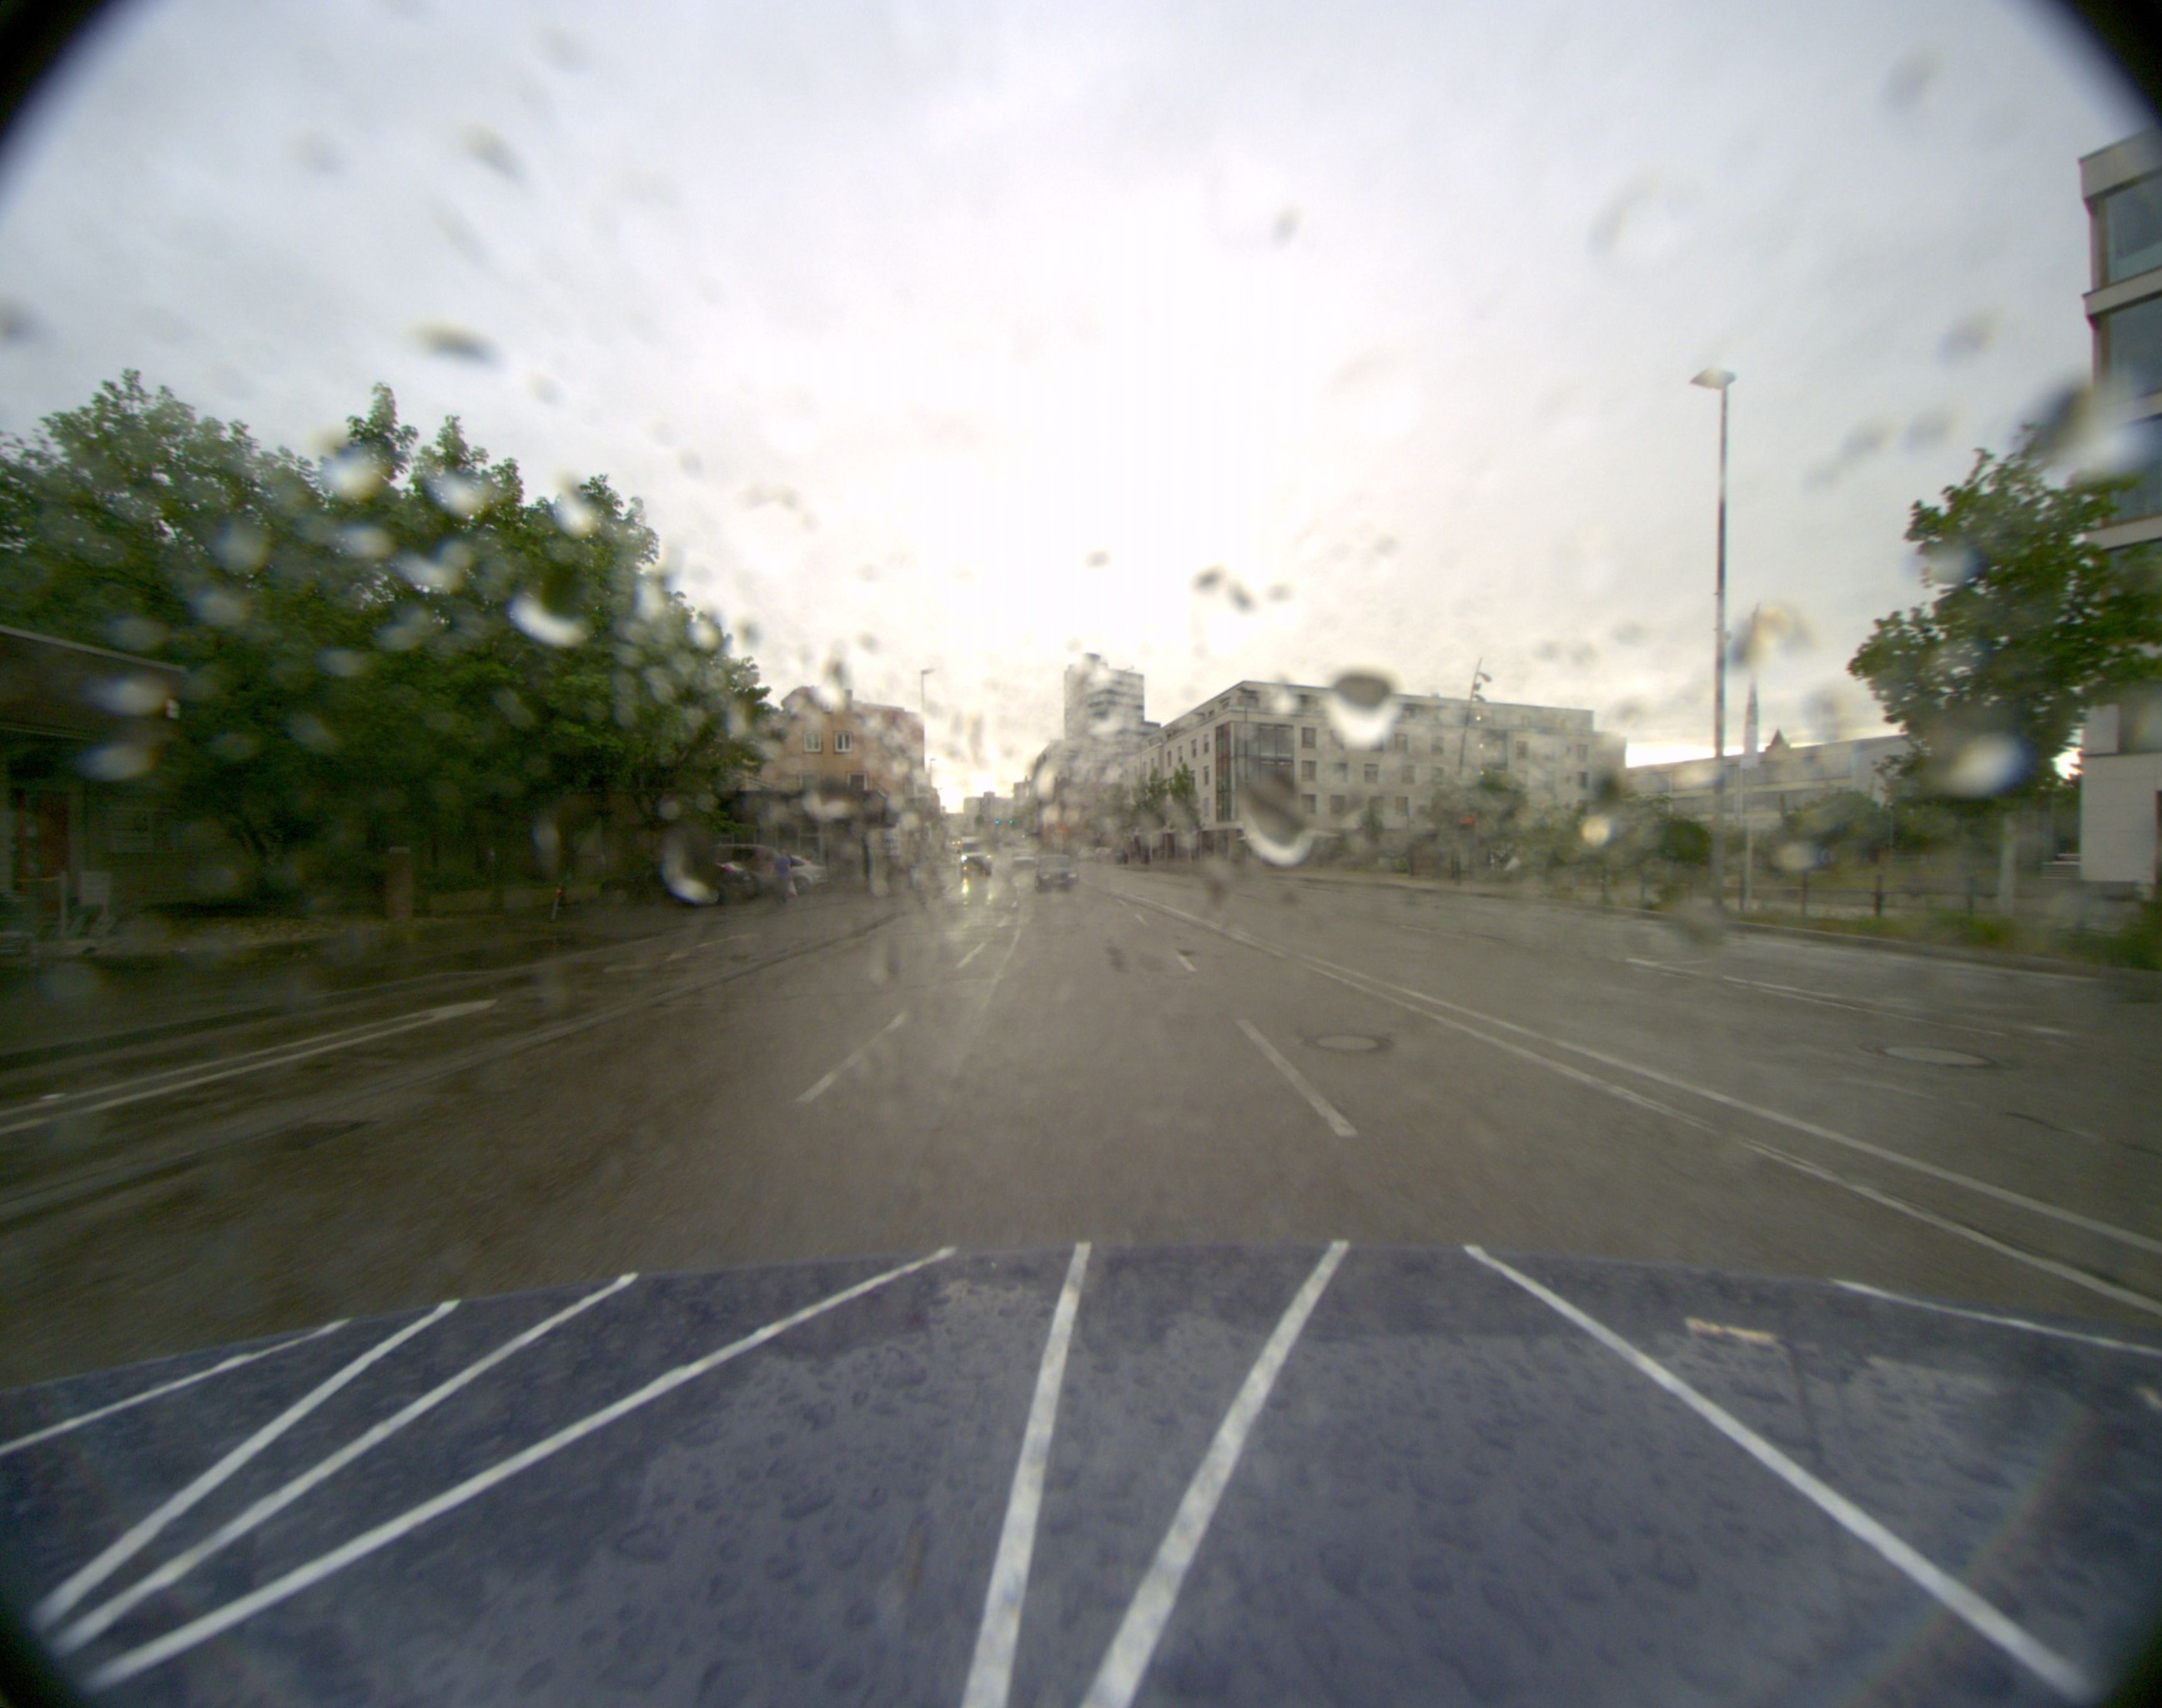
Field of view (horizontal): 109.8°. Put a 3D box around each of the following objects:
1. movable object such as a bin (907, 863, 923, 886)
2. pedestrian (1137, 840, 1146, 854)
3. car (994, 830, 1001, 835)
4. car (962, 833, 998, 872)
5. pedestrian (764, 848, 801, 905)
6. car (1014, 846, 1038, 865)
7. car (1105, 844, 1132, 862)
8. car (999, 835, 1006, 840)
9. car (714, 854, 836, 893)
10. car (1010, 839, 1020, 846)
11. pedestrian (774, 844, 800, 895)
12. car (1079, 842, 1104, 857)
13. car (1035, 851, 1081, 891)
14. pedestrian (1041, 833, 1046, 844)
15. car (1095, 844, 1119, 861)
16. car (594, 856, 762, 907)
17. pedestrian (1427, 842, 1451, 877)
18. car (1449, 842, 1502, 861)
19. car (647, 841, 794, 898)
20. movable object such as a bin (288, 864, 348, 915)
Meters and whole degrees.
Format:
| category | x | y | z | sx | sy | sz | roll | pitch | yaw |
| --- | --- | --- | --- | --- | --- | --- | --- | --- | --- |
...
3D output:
| category | x | y | z | sx | sy | sz | roll | pitch | yaw |
| --- | --- | --- | --- | --- | --- | --- | --- | --- | --- |
| movable object such as a bin | -7.687 | 0.941 | 35.168 | 0.638 | 1.068 | 0.698 | 0 | 0 | -5 |
| pedestrian | 7.207 | -0.840 | 90.724 | 0.811 | 1.729 | 1.002 | 0 | 3 | -10 |
| car | -27.306 | -6.991 | 248.224 | 2.007 | 1.609 | 4.943 | 0 | 3 | -6 |
| car | -7.083 | -0.169 | 52.736 | 2.299 | 2.369 | 6.616 | 0 | 3 | -9 |
| pedestrian | -9.206 | 0.681 | 23.461 | 0.878 | 1.727 | 0.759 | 1 | 1 | -7 |
| car | -4.381 | 0.122 | 59.812 | 1.663 | 1.301 | 3.990 | 0 | 3 | -7 |
| car | 3.455 | -0.108 | 70.225 | 1.592 | 1.573 | 4.466 | 0 | 1 | -9 |
| car | -22.727 | -4.731 | 219.112 | 1.655 | 1.410 | 4.133 | 2 | 2 | -9 |
| car | -11.665 | 0.735 | 29.202 | 3.998 | 1.439 | 1.745 | 0 | 1 | -4 |
| car | -15.095 | -2.716 | 173.926 | 1.887 | 1.515 | 4.178 | 0 | 3 | -9 |
| pedestrian | -10.763 | 0.546 | 27.800 | 0.711 | 1.811 | 0.794 | -2 | 4 | -35 |
| car | 1.087 | -0.497 | 80.952 | 1.801 | 1.455 | 4.472 | -1 | 3 | -11 |
| car | -1.025 | 0.647 | 31.845 | 1.689 | 1.373 | 3.790 | -1 | 3 | -5 |
| pedestrian | -6.732 | -2.782 | 136.281 | 0.663 | 1.911 | 0.945 | -3 | 4 | -17 |
| car | 2.570 | -0.204 | 76.112 | 1.696 | 1.502 | 4.572 | 0 | 3 | -6 |
| car | -12.199 | 0.808 | 23.234 | 4.161 | 1.446 | 1.801 | 0 | 2 | -6 |
| pedestrian | 18.046 | 0.267 | 38.319 | 0.786 | 1.736 | 0.672 | -1 | 3 | -23 |
| car | 37.460 | -0.251 | 72.227 | 2.003 | 1.680 | 3.989 | -1 | 3 | -27 |
| car | -12.127 | 0.512 | 25.794 | 4.106 | 1.860 | 1.875 | 0 | 1 | -4 |
| movable object such as a bin | -16.422 | 0.754 | 16.374 | 0.646 | 1.049 | 0.640 | 0 | 1 | -10 |
